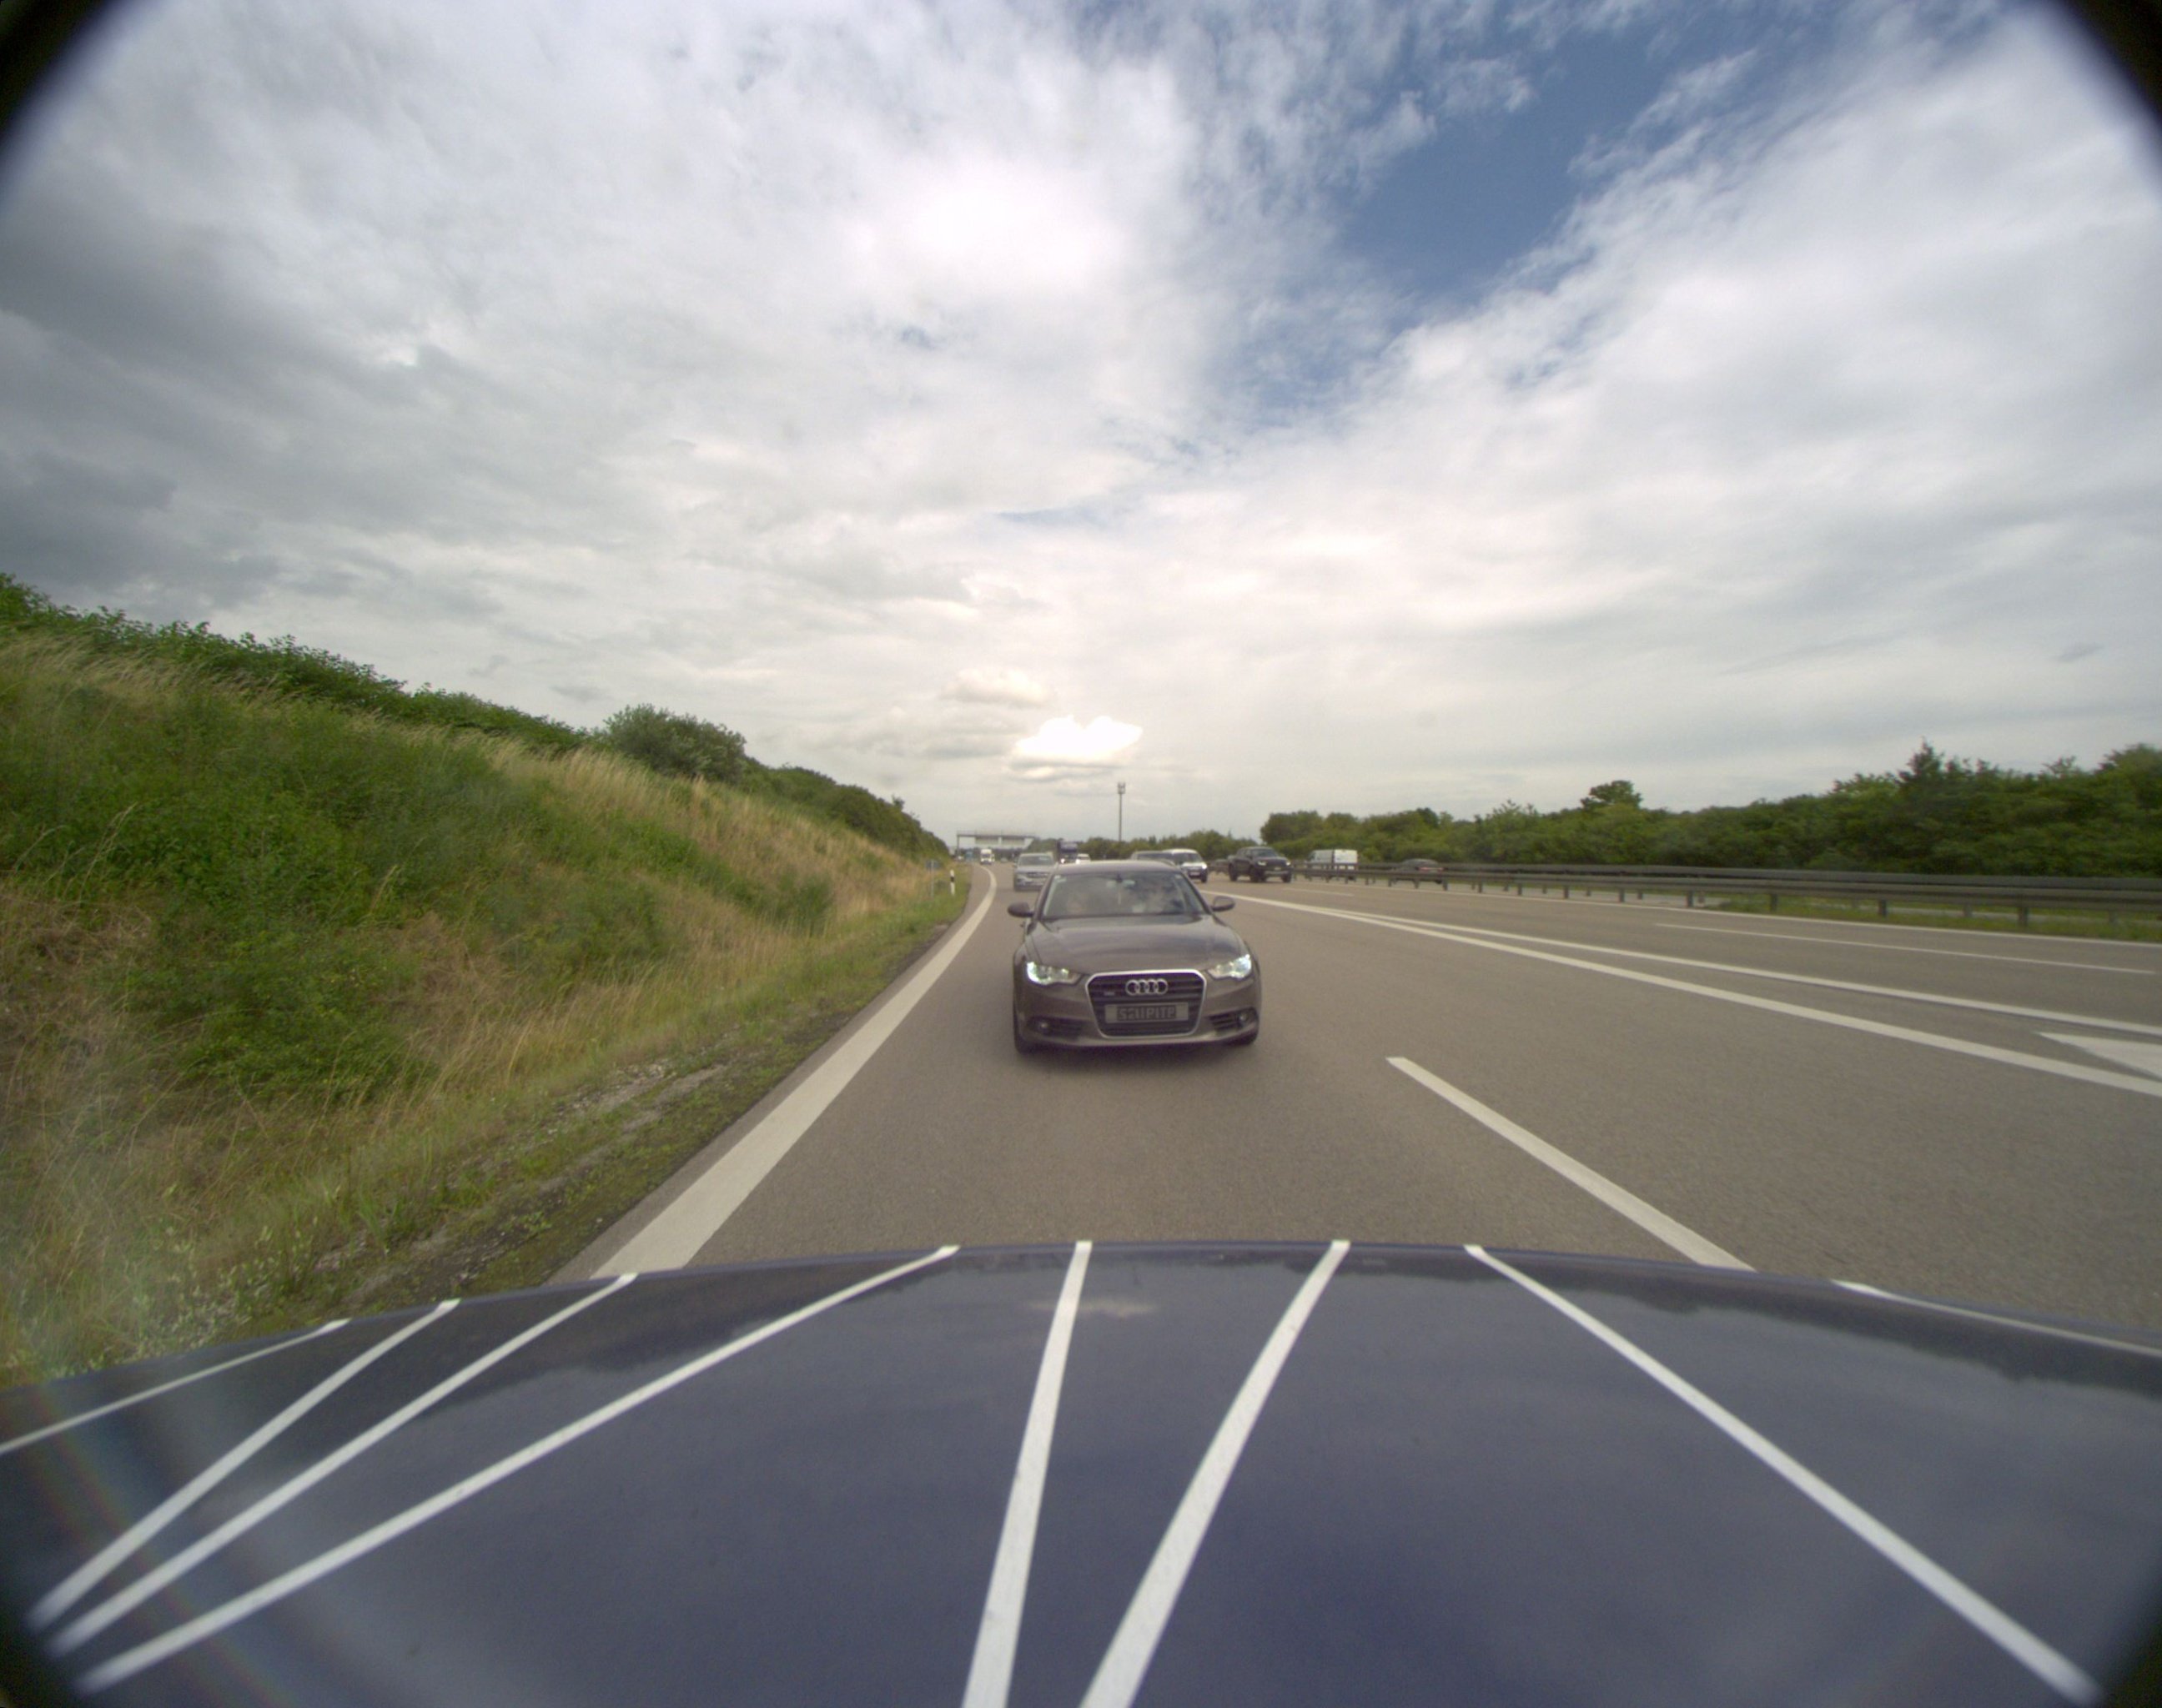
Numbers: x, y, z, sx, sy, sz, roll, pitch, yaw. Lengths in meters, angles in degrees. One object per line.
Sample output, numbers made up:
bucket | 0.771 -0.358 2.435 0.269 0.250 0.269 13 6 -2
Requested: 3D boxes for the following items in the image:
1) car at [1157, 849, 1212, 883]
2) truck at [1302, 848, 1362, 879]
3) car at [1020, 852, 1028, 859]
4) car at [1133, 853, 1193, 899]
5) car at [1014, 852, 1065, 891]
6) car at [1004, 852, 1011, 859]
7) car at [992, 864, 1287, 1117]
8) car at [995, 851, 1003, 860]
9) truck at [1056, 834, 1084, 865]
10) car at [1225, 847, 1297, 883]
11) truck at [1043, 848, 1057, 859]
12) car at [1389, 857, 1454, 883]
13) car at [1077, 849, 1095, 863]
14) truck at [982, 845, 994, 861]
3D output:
car | 5.511 0.603 40.923 1.882 1.741 4.484 -1 0 -6
truck | 16.797 0.620 51.091 2.000 2.002 4.716 -1 0 -7
car | -16.145 0.469 214.165 1.999 2.002 3.999 0 0 -2
car | 2.999 0.750 28.605 1.838 1.557 4.497 -1 0 1
car | -1.892 0.722 33.326 2.000 1.567 3.997 -1 0 -6
car | -21.433 0.467 221.809 1.999 2.002 3.998 -2 1 -3
car | 0.299 0.887 6.841 1.849 1.489 4.027 -1 0 -2
car | -22.749 0.498 211.721 1.999 2.381 3.997 -2 1 -5
truck | -1.402 -0.442 89.257 2.475 3.350 7.920 -1 -1 -7
car | 9.484 0.536 40.592 2.000 1.775 5.408 -1 0 -6
truck | -10.516 -0.155 255.774 3.168 3.508 9.970 -2 1 -9
car | 21.429 0.980 47.960 2.000 1.510 3.997 -1 0 -6
car | 0.674 0.301 101.127 2.000 1.799 3.997 0 0 -7
truck | -18.538 -0.225 151.246 2.450 3.216 7.186 -1 0 -7
